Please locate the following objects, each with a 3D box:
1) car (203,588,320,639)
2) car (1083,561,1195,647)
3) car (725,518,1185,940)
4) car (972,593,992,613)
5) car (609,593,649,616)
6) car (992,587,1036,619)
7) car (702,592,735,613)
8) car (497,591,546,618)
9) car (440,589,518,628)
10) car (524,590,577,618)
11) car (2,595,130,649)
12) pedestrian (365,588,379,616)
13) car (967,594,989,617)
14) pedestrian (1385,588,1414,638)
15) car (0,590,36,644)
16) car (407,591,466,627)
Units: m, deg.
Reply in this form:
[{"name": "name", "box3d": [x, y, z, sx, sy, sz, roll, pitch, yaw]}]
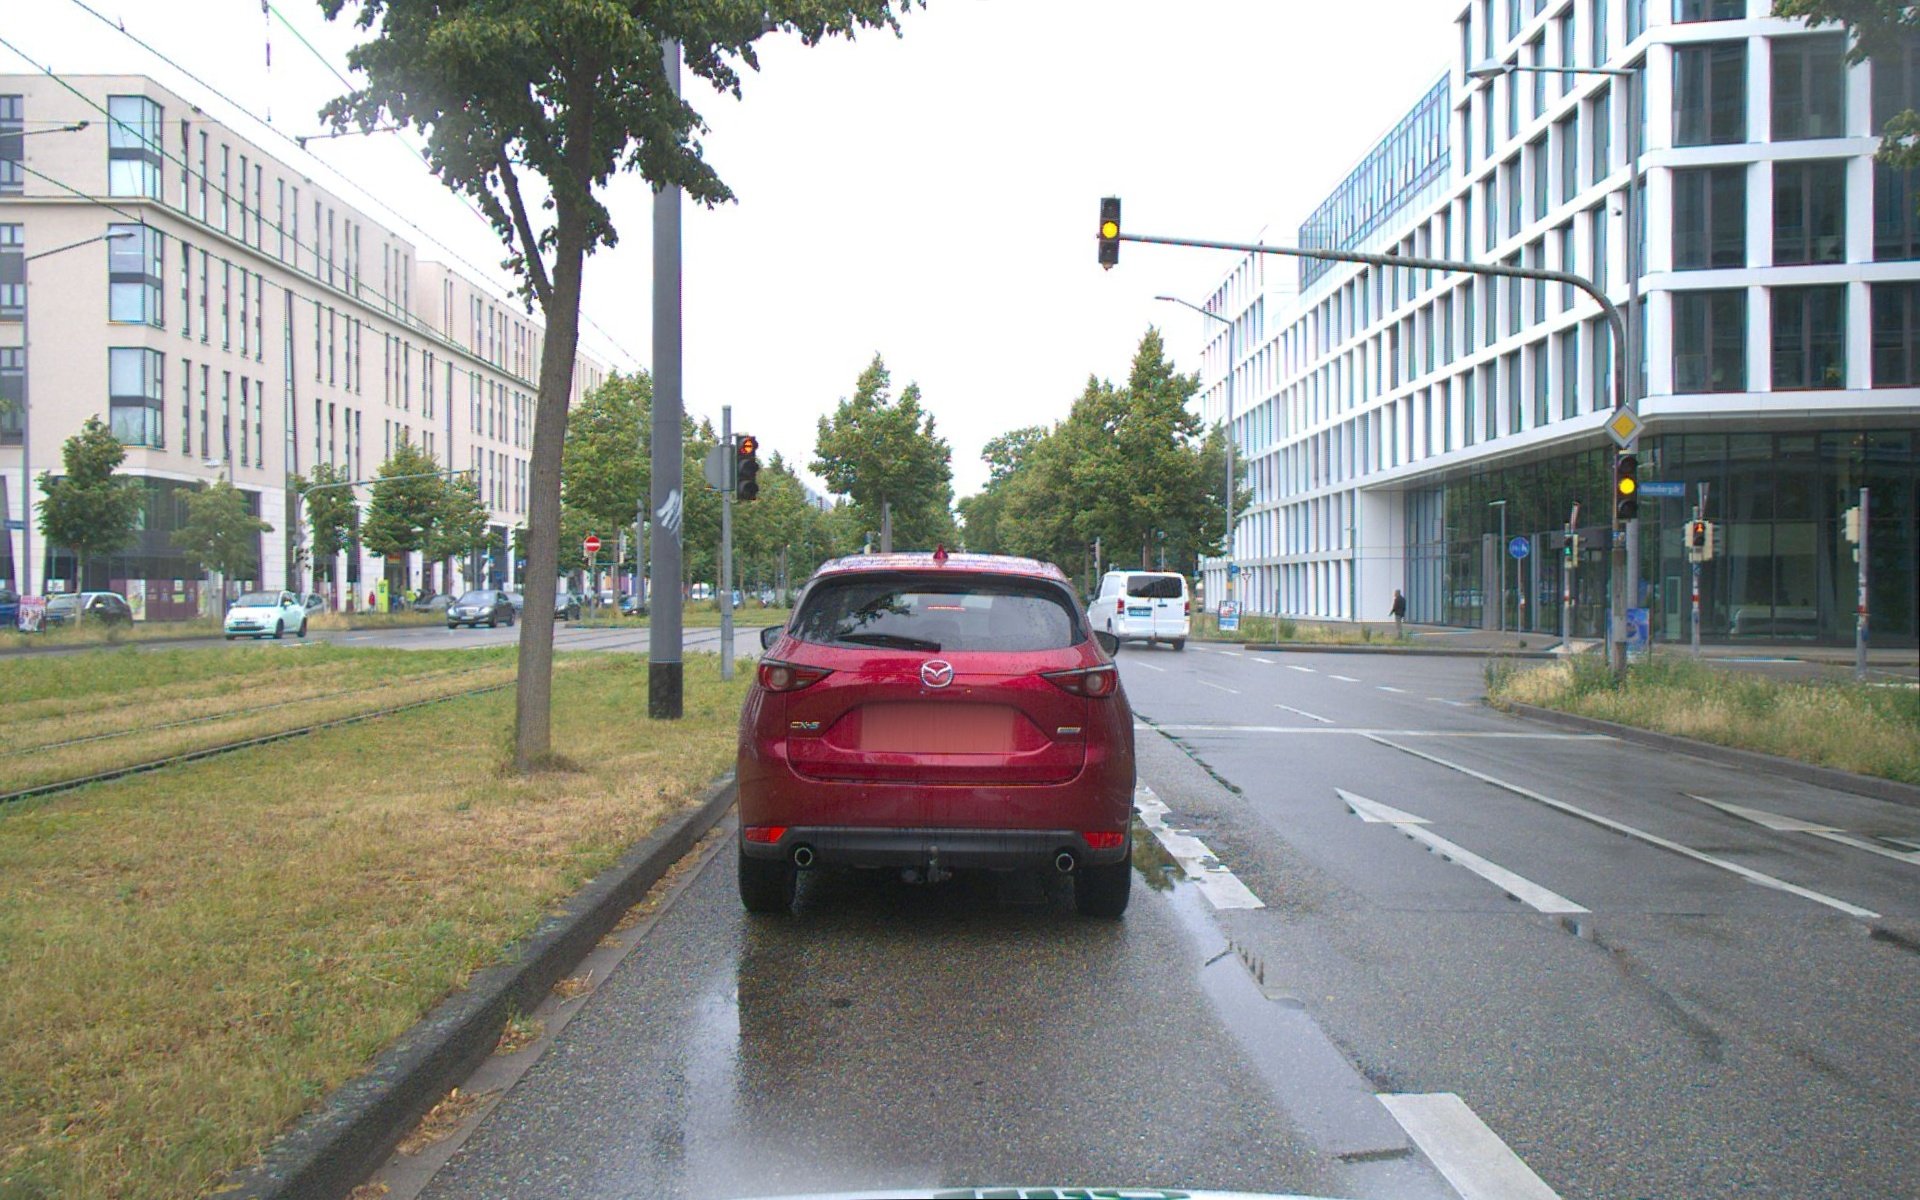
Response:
[{"name": "car", "box3d": [-21.853, 0.400, 51.941, 1.954, 1.510, 4.443, 1, 0, -3]}, {"name": "car", "box3d": [4.443, 0.104, 41.714, 1.928, 2.014, 5.087, 1, 0, -4]}, {"name": "car", "box3d": [-0.045, 0.511, 8.727, 1.859, 1.706, 3.999, 0, 0, -1]}, {"name": "car", "box3d": [2.302, 0.313, 173.322, 1.953, 2.049, 4.000, 0, 0, 0]}, {"name": "car", "box3d": [-22.644, 0.279, 113.212, 1.953, 1.510, 4.444, 0, 0, -2]}, {"name": "car", "box3d": [2.621, 0.132, 80.690, 1.709, 1.490, 3.778, 0, 0, -5]}, {"name": "car", "box3d": [-17.891, 0.151, 122.736, 1.953, 1.510, 4.444, 0, 0, -2]}, {"name": "car", "box3d": [-25.709, 0.248, 97.130, 1.954, 1.510, 4.442, 0, 0, -4]}, {"name": "car", "box3d": [-19.425, 0.316, 66.944, 1.953, 1.510, 4.444, 0, 0, -2]}, {"name": "car", "box3d": [-22.784, 0.210, 92.202, 1.953, 1.510, 4.444, 0, 0, -1]}, {"name": "car", "box3d": [-28.599, 0.678, 53.076, 1.954, 1.626, 4.442, 1, 0, -4]}, {"name": "pedestrian", "box3d": [-36.984, 0.105, 104.033, 0.622, 1.747, 0.742, 1, 0, 2]}, {"name": "car", "box3d": [1.619, 0.484, 149.848, 1.953, 2.049, 4.000, 0, 0, 0]}, {"name": "pedestrian", "box3d": [15.458, 0.468, 58.209, 0.666, 1.737, 0.781, 0, 0, -14]}, {"name": "car", "box3d": [-28.098, 0.471, 46.518, 1.954, 1.510, 4.442, 1, 0, -4]}, {"name": "car", "box3d": [-28.023, 0.468, 88.613, 1.953, 1.870, 3.999, 1, 0, -1]}]
